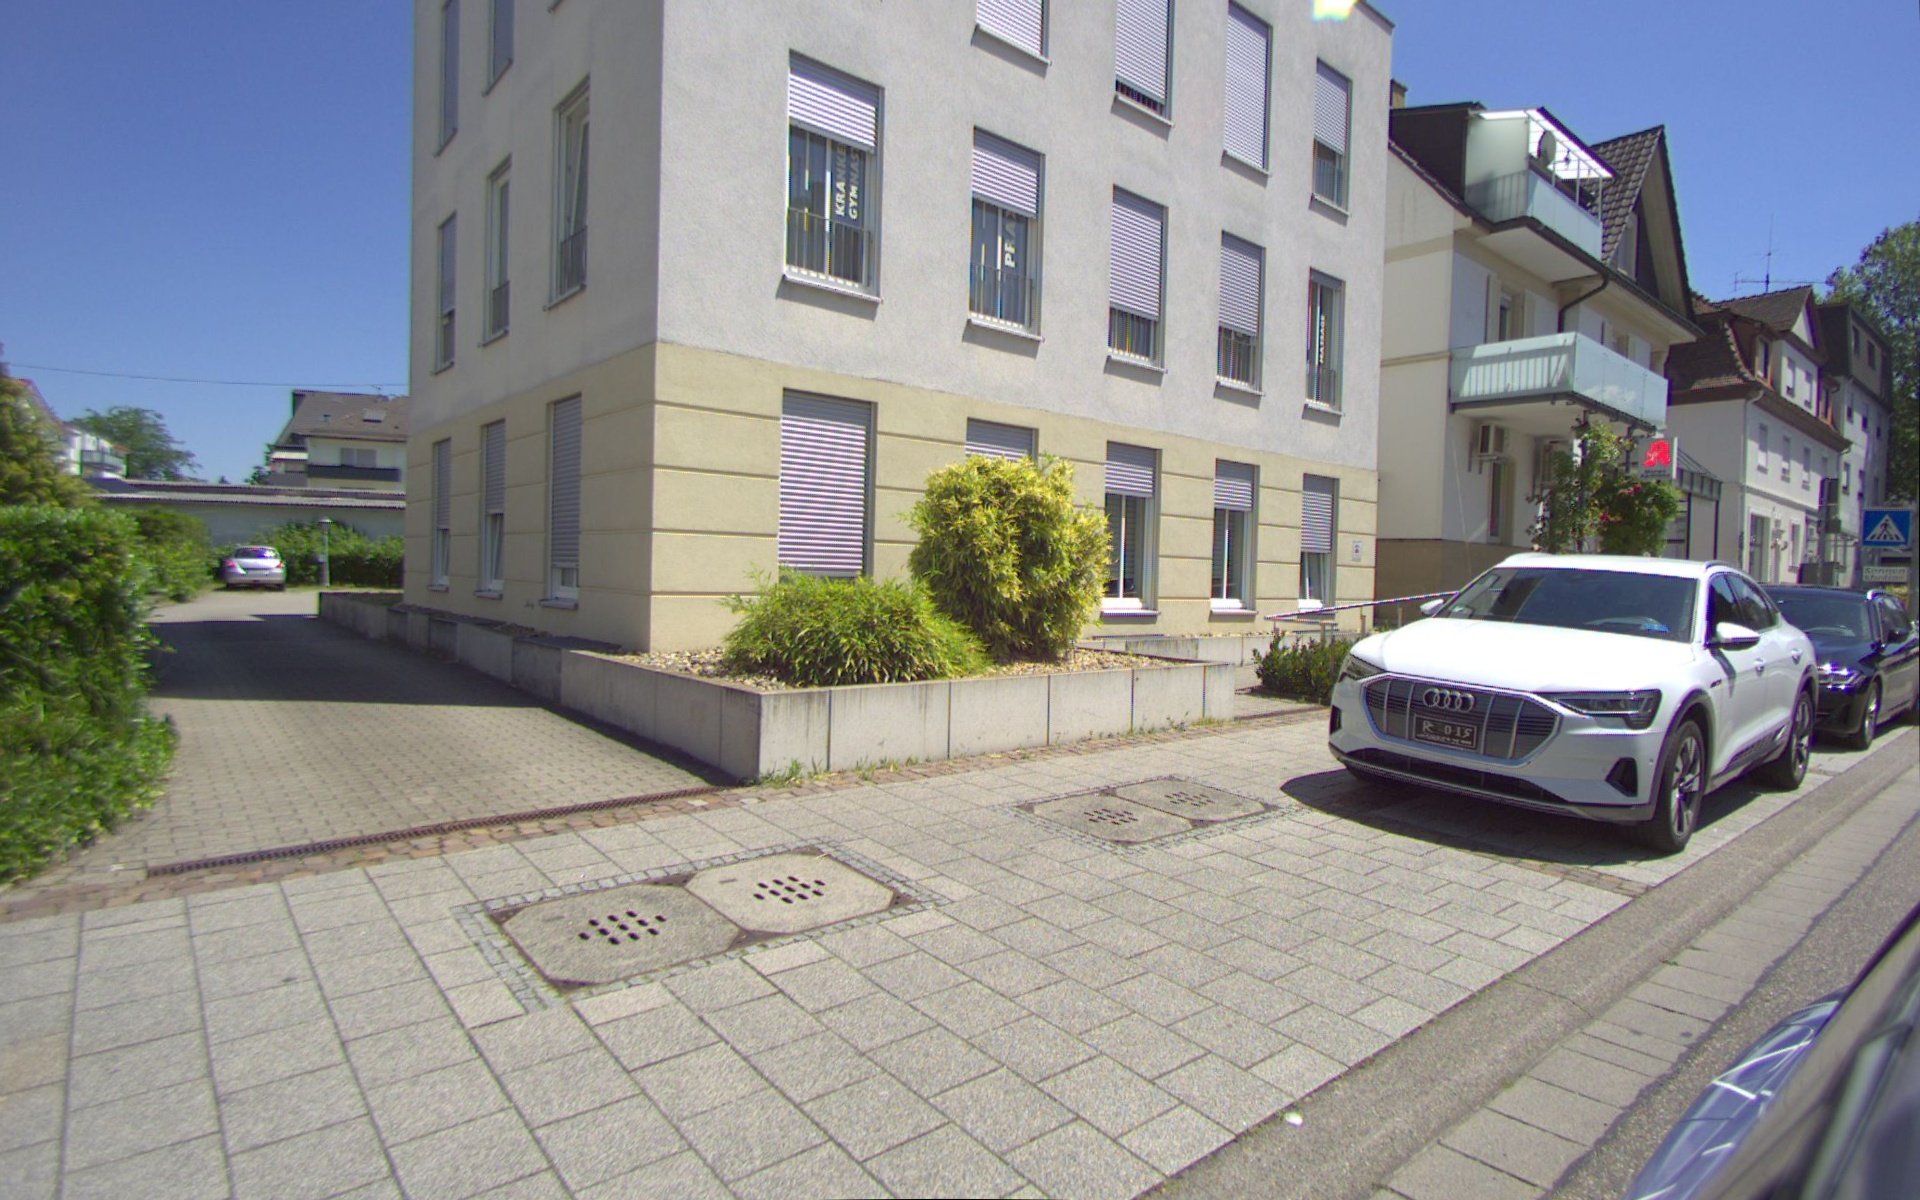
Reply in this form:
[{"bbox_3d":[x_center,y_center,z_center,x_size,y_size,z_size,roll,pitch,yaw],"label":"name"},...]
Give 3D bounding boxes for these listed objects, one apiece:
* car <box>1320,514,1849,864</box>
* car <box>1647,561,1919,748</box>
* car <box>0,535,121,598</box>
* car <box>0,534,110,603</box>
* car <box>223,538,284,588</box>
[{"bbox_3d":[4.529,0.370,7.024,4.499,1.686,1.710,0,4,-40],"label":"car"},{"bbox_3d":[9.074,0.429,10.751,4.663,1.575,1.709,0,2,-40],"label":"car"},{"bbox_3d":[-22.314,-0.791,23.829,3.929,1.437,1.805,0,2,-40],"label":"car"},{"bbox_3d":[-20.541,-0.680,21.387,3.929,1.437,1.805,0,2,-40],"label":"car"},{"bbox_3d":[-24.228,-1.274,34.672,1.625,1.594,3.863,0,2,-36],"label":"car"}]
